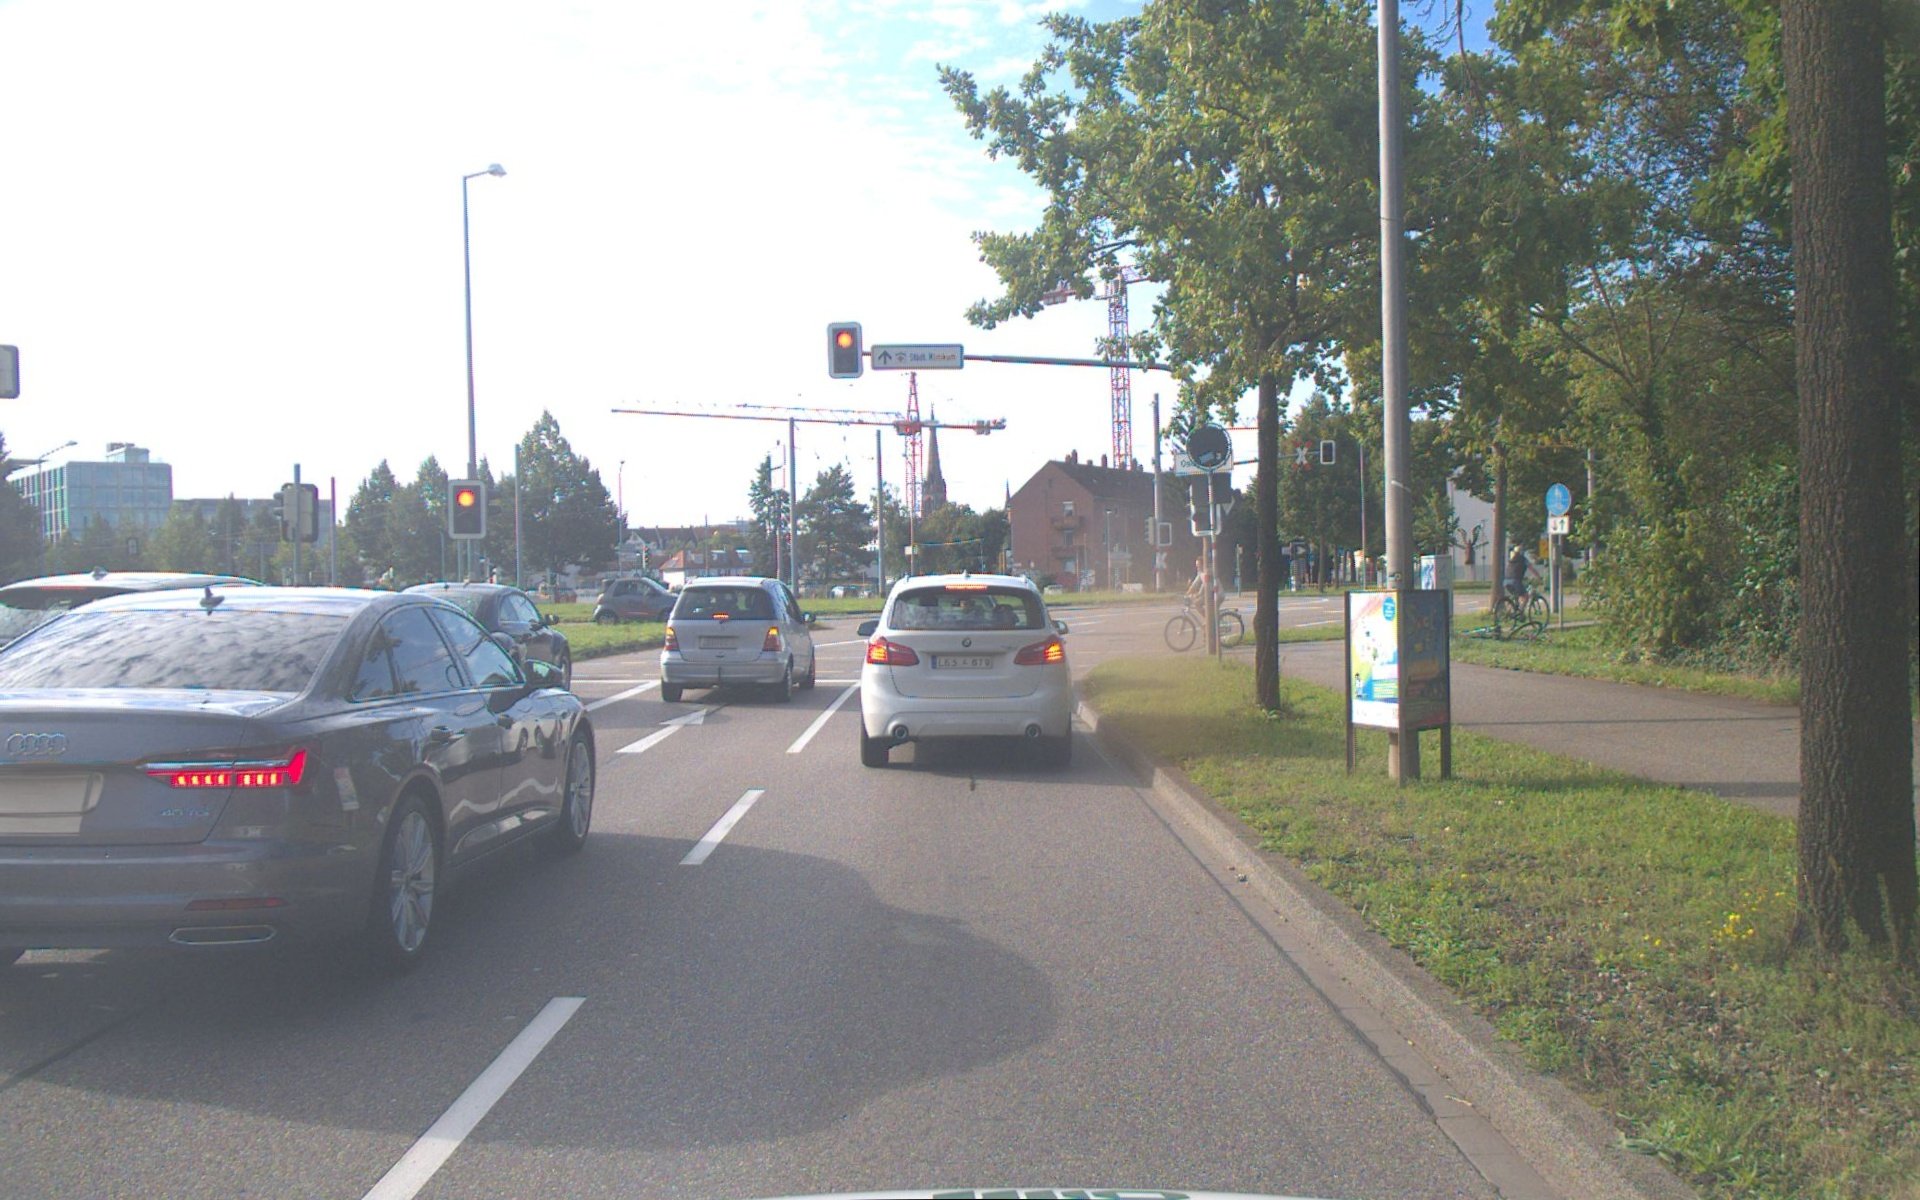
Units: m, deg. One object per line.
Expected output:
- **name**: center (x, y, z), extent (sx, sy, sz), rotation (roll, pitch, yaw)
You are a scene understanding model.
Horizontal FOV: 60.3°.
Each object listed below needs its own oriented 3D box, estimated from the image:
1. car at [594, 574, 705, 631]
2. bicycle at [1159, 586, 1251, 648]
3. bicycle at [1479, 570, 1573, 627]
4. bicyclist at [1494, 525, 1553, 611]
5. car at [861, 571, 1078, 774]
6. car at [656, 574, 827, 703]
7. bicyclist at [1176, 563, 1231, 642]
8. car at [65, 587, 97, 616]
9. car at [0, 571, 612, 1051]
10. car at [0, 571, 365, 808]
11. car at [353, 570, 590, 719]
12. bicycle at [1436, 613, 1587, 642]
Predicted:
- **car**: center (-9.297, 0.054, 49.705), extent (3.127, 1.601, 1.573), rotation (-2, 2, -7)
- **bicycle**: center (4.923, 0.332, 33.288), extent (1.698, 1.184, 0.653), rotation (-1, 0, -17)
- **bicycle**: center (11.297, -0.040, 33.014), extent (1.748, 1.068, 0.705), rotation (-2, 0, -25)
- **bicyclist**: center (11.236, -0.638, 32.988), extent (0.819, 1.676, 0.680), rotation (-2, 0, -25)
- **car**: center (0.045, 0.544, 14.986), extent (1.694, 1.585, 4.057), rotation (0, 1, -1)
- **car**: center (-2.853, 0.452, 22.365), extent (1.693, 1.585, 4.059), rotation (0, 1, 1)
- **bicyclist**: center (4.892, 0.046, 33.282), extent (0.835, 1.553, 0.737), rotation (-2, 0, -17)
- **car**: center (-51.576, 0.115, 97.097), extent (1.574, 1.439, 3.636), rotation (-4, -1, -28)
- **car**: center (-2.959, 0.658, 7.519), extent (1.851, 1.509, 4.612), rotation (0, 0, -1)
- **car**: center (-6.289, 0.589, 13.136), extent (1.694, 1.585, 4.018), rotation (0, 0, 0)
- **car**: center (-5.672, 0.441, 19.682), extent (1.686, 1.592, 3.877), rotation (0, 1, 0)
- **bicycle**: center (9.442, 0.460, 28.471), extent (1.382, 0.392, 2.569), rotation (-2, 1, -12)
